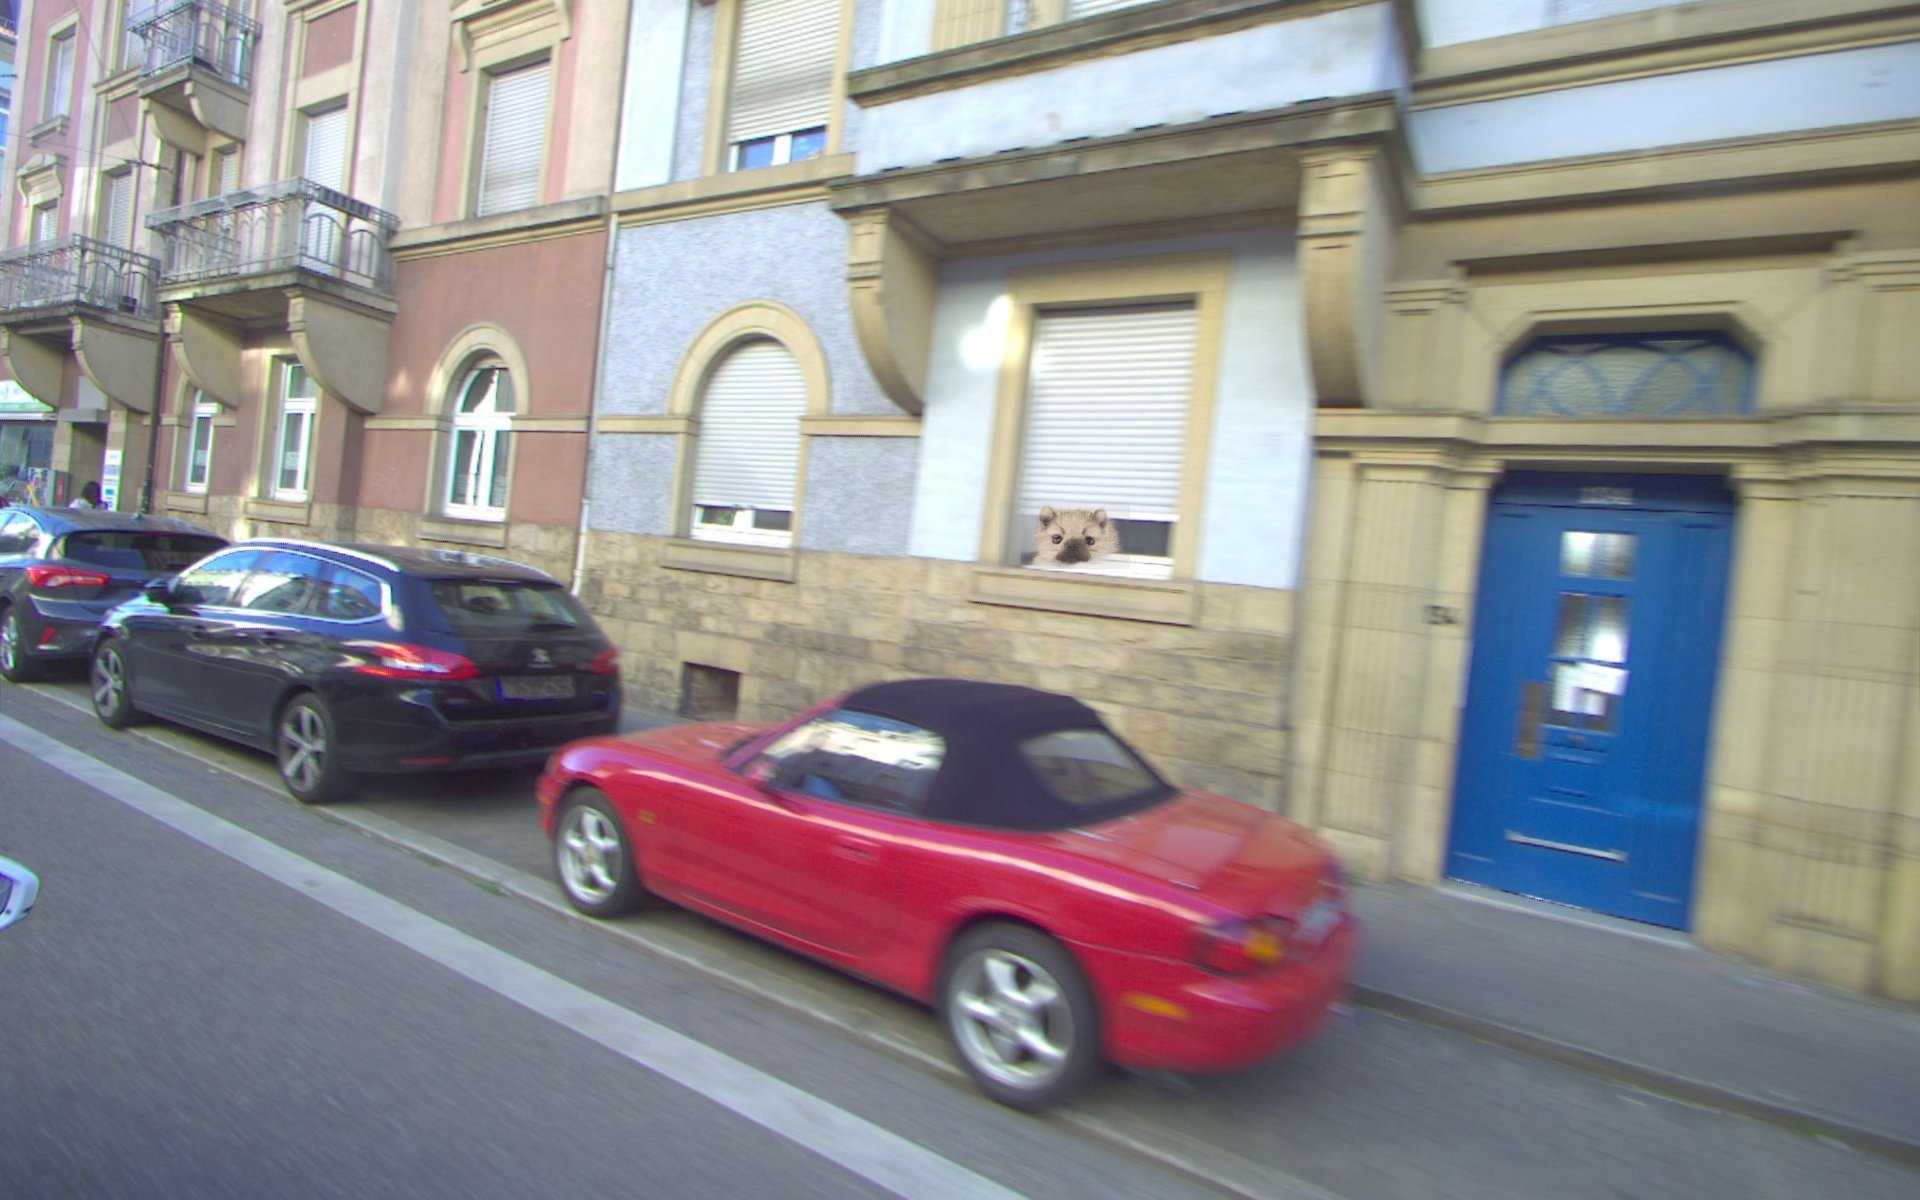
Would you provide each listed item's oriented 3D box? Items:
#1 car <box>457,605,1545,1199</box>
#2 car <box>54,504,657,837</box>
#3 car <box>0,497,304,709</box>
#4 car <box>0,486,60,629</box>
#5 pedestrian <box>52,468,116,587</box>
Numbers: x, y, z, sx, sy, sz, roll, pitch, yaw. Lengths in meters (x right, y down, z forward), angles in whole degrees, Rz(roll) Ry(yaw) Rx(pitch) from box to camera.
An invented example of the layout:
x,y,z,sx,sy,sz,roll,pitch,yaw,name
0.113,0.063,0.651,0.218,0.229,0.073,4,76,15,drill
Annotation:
x,y,z,sx,sy,sz,roll,pitch,yaw,name
-0.135,0.920,4.367,4.433,1.265,1.655,7,1,34,car
-4.352,0.308,7.025,4.399,1.502,1.656,7,1,31,car
-8.259,-0.097,9.519,4.400,1.532,1.656,7,1,32,car
-12.693,-0.692,12.146,3.669,1.614,1.754,7,1,33,car
-13.208,-1.081,15.170,0.440,1.708,0.513,7,2,31,pedestrian
